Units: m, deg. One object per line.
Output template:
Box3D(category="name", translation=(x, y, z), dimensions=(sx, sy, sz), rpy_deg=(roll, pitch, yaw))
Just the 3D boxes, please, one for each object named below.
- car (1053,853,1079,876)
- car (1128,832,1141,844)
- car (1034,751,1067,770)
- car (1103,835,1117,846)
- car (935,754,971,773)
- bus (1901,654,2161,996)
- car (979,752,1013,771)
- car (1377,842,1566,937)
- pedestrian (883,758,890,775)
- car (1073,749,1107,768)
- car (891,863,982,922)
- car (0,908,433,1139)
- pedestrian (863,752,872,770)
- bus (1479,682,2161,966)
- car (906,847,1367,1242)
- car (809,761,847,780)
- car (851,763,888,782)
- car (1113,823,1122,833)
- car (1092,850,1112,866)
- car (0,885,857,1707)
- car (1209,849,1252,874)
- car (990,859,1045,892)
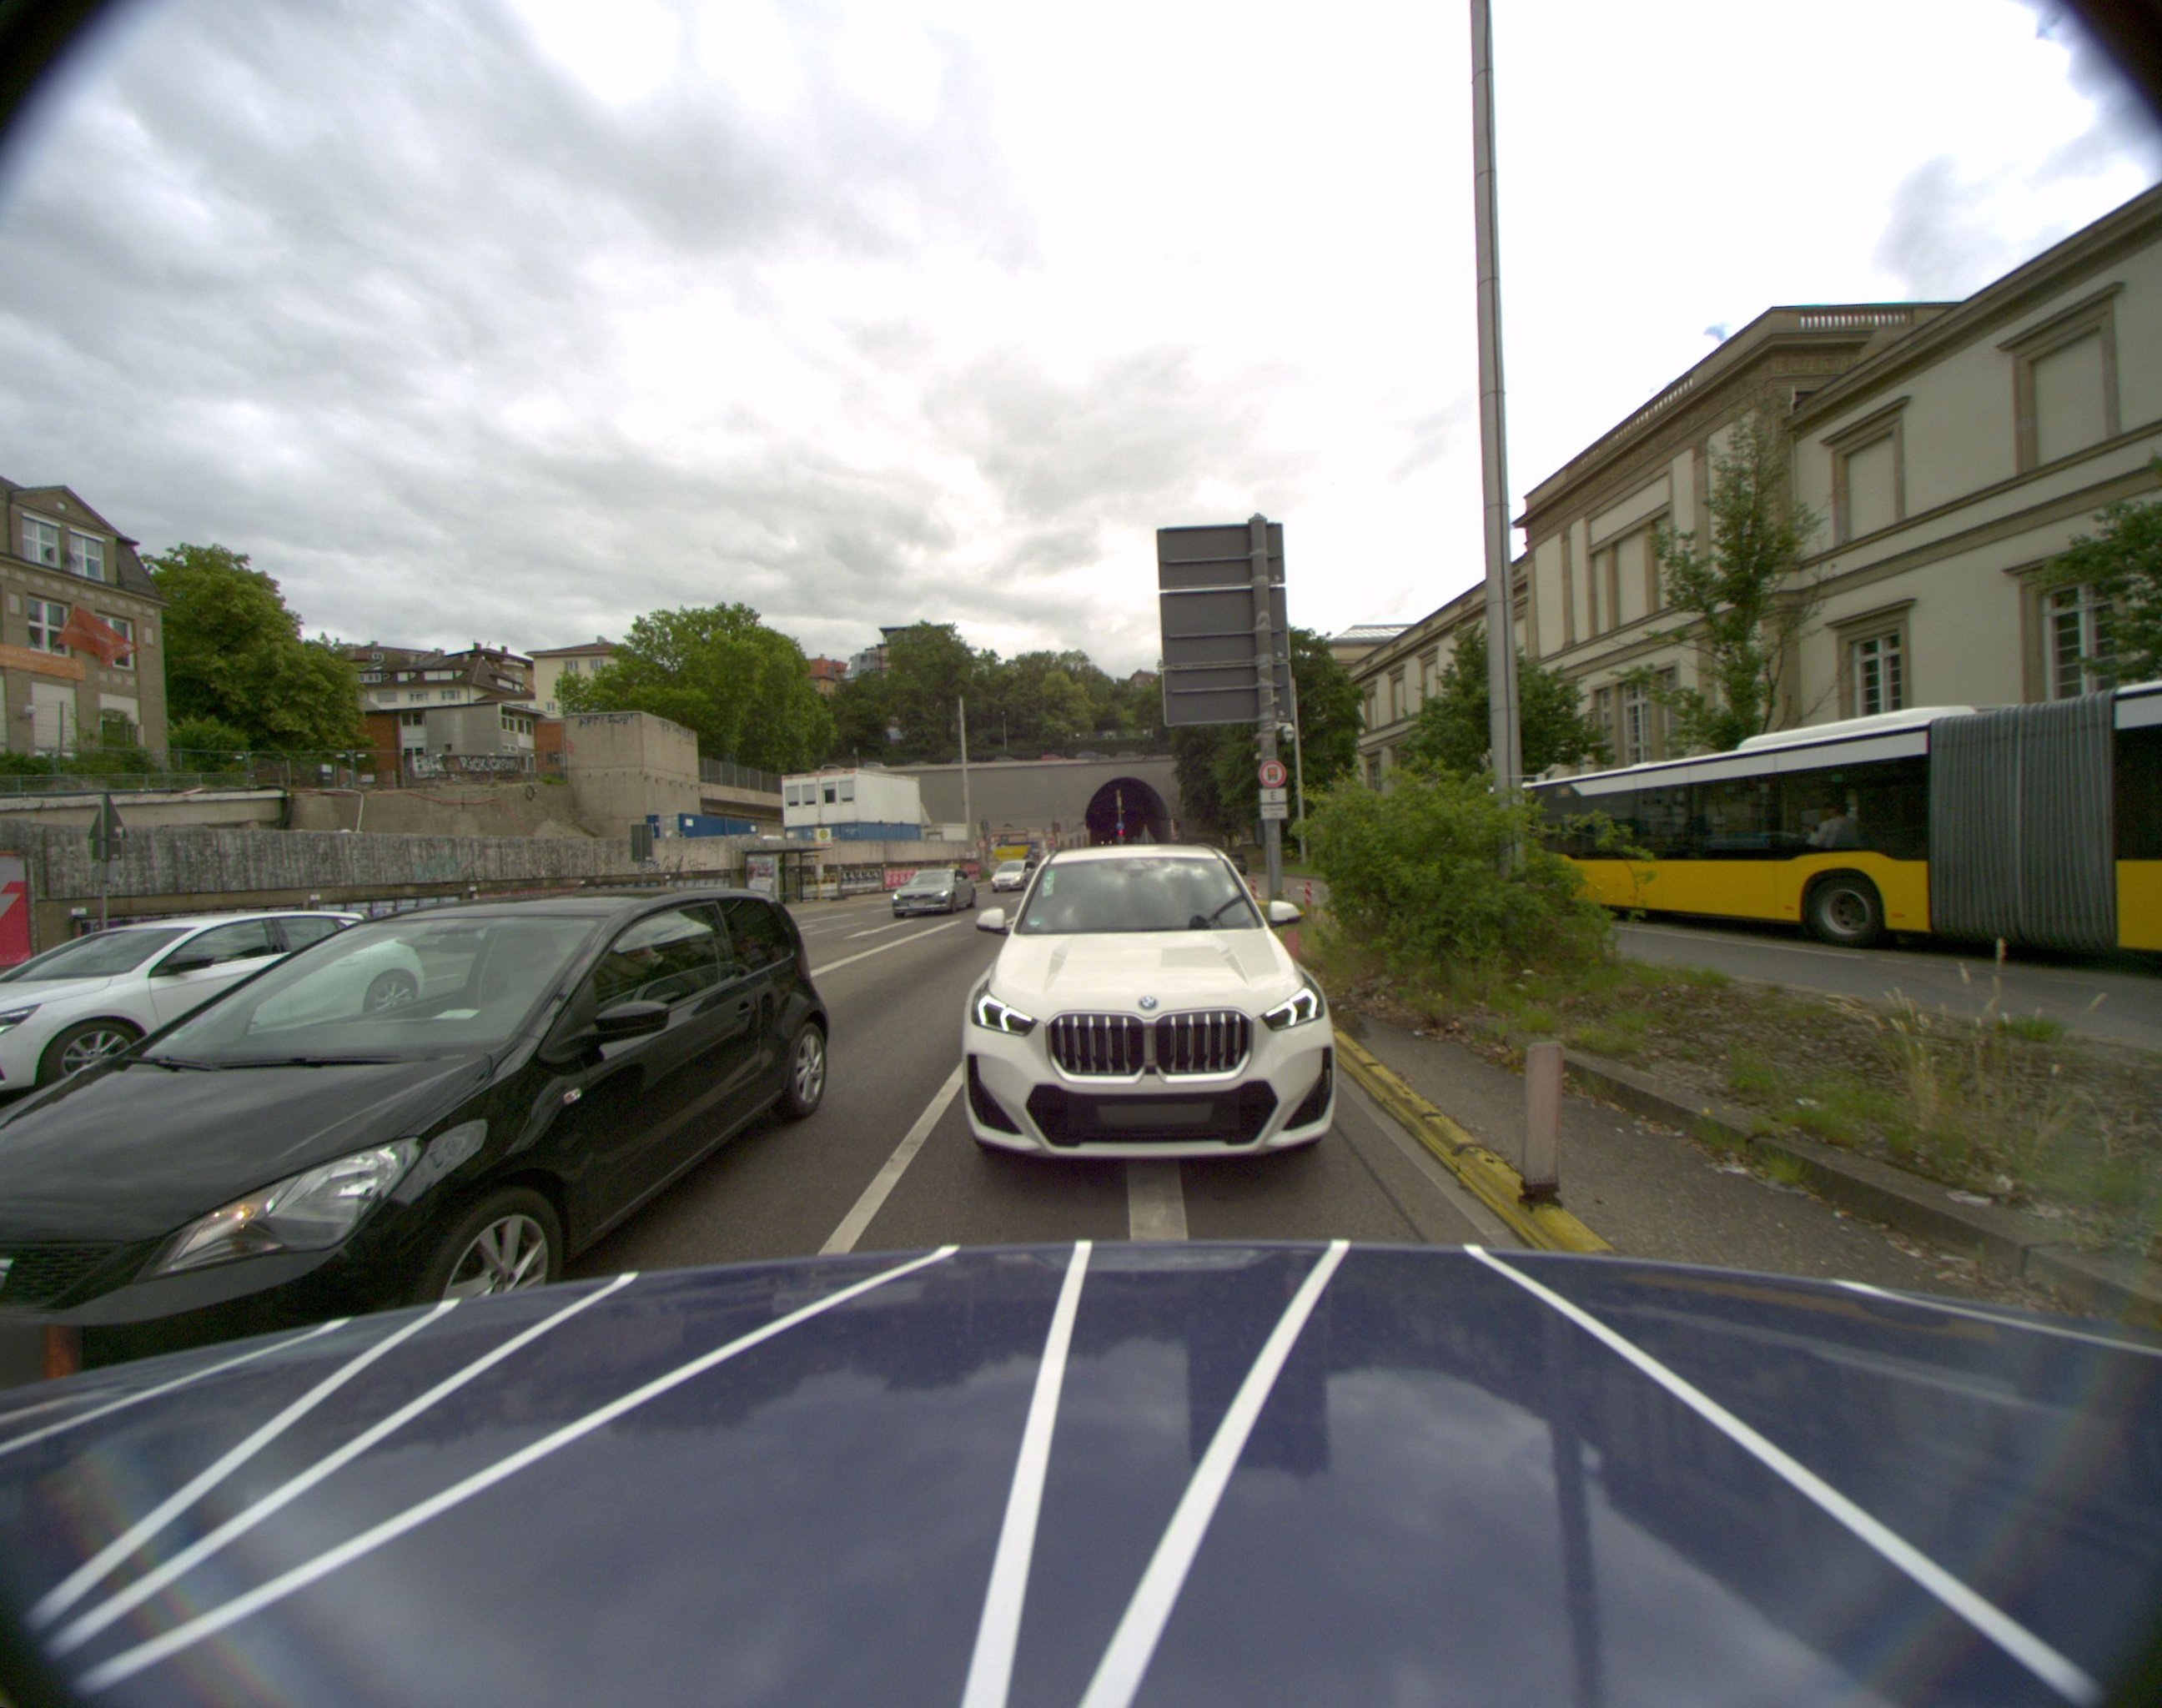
Box3D(category="car", translation=(-1.060, 0.719, 56.421), dimensions=(1.705, 1.550, 4.550), rpy_deg=(-3, 0, 1))
Box3D(category="car", translation=(7.714, -2.280, 110.217), dimensions=(1.667, 1.582, 3.882), rpy_deg=(-1, 0, 2))
Box3D(category="car", translation=(-3.782, -11.630, 94.405), dimensions=(3.998, 2.002, 1.999), rpy_deg=(-2, 1, -2))
Box3D(category="car", translation=(4.161, -1.841, 107.715), dimensions=(1.730, 1.435, 4.001), rpy_deg=(-3, 0, 5))
Box3D(category="car", translation=(-15.807, -11.184, 93.899), dimensions=(3.998, 2.002, 1.999), rpy_deg=(-2, 1, -2))
Box3D(category="bus", translation=(11.215, -0.312, 4.449), dimensions=(2.853, 3.096, 9.121), rpy_deg=(-3, 0, 0))
Box3D(category="car", translation=(-10.489, -11.380, 94.010), dimensions=(3.998, 2.002, 1.999), rpy_deg=(-2, 1, -2))
Box3D(category="car", translation=(7.602, 0.615, 15.268), dimensions=(1.701, 1.580, 3.882), rpy_deg=(-3, 0, -1))
Box3D(category="pedestrian", translation=(-24.430, -11.018, 95.384), dimensions=(0.581, 2.002, 0.577), rpy_deg=(-2, 1, -3))
Box3D(category="car", translation=(1.096, -11.810, 94.490), dimensions=(3.998, 2.002, 1.999), rpy_deg=(-2, 1, -2))
Box3D(category="car", translation=(-4.629, 1.178, 25.018), dimensions=(1.826, 1.562, 4.654), rpy_deg=(-3, 0, 3))
Box3D(category="car", translation=(-9.010, 1.466, 7.459), dimensions=(1.663, 1.471, 4.000), rpy_deg=(-3, 0, 3))
Box3D(category="pedestrian", translation=(-25.453, -11.040, 90.621), dimensions=(0.851, 2.002, 0.905), rpy_deg=(-3, 1, -3))
Box3D(category="bus", translation=(11.164, -0.355, 13.473), dimensions=(2.853, 3.096, 9.747), rpy_deg=(-3, 0, -1))
Box3D(category="car", translation=(0.293, 0.801, 5.122), dimensions=(1.848, 1.581, 3.882), rpy_deg=(-3, 0, 2))
Box3D(category="car", translation=(-31.068, -10.236, 93.312), dimensions=(3.998, 2.002, 1.999), rpy_deg=(-2, 1, -5))
Box3D(category="car", translation=(-26.019, -10.050, 93.376), dimensions=(3.998, 2.002, 1.999), rpy_deg=(-2, 1, -5))
Box3D(category="car", translation=(6.639, -4.728, 138.678), dimensions=(1.667, 1.582, 3.882), rpy_deg=(-1, 0, 2))
Box3D(category="car", translation=(1.967, 0.361, 71.063), dimensions=(1.728, 1.310, 4.000), rpy_deg=(-3, 0, 1))
Box3D(category="car", translation=(-2.508, 1.006, 3.412), dimensions=(1.667, 1.487, 3.882), rpy_deg=(-3, 0, 2))
Box3D(category="car", translation=(9.327, 0.438, 47.756), dimensions=(1.711, 1.505, 4.287), rpy_deg=(0, 0, -3))
Box3D(category="car", translation=(-3.331, 1.115, 40.814), dimensions=(1.703, 1.550, 4.554), rpy_deg=(-3, 0, 11))
